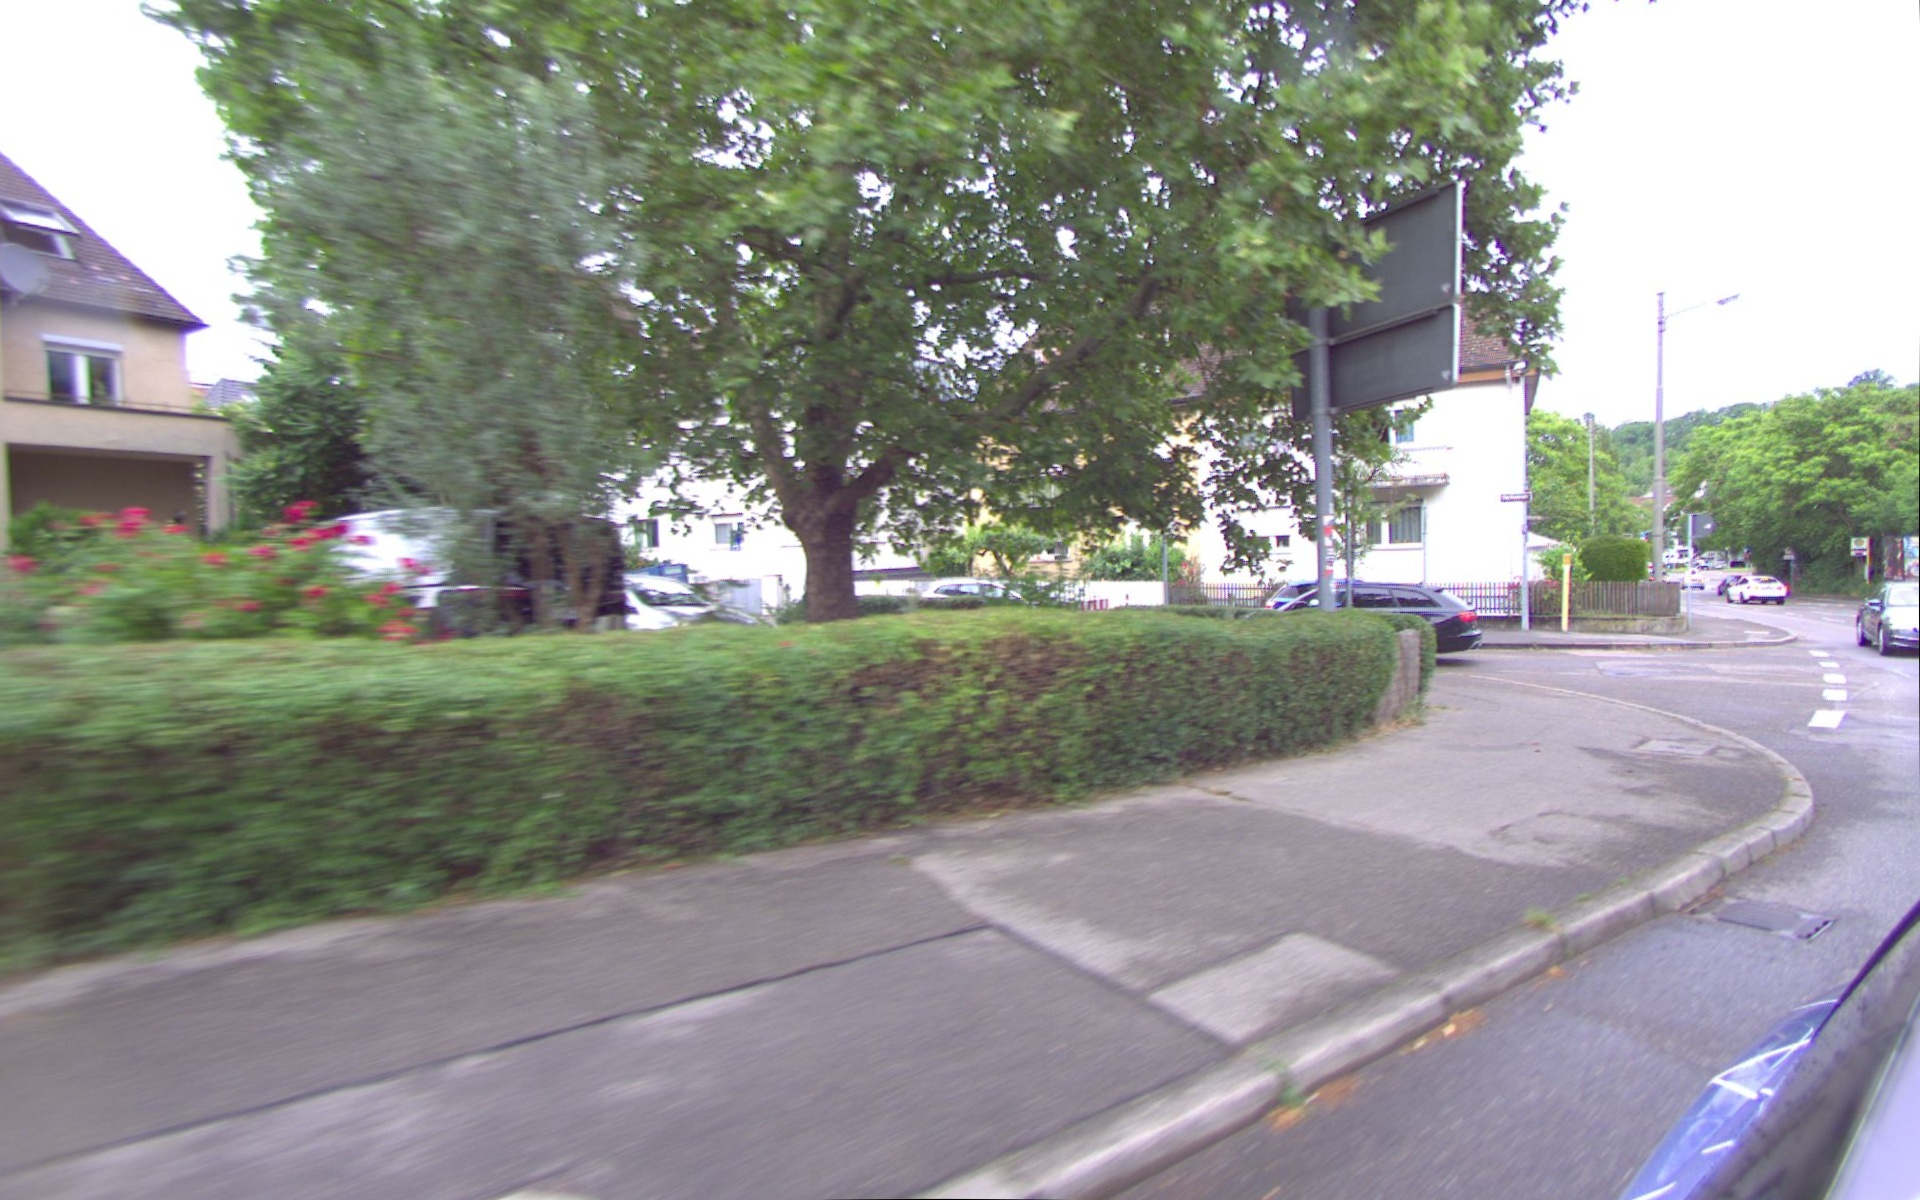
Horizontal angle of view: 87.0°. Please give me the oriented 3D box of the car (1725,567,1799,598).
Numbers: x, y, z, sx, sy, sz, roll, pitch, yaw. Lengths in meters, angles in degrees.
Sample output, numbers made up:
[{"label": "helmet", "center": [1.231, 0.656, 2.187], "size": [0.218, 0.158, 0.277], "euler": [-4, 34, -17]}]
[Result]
[{"label": "car", "center": [43.404, -0.935, 54.905], "size": [1.822, 1.577, 5.527], "euler": [0, 1, 24]}]

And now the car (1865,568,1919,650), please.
[{"label": "car", "center": [19.956, 0.151, 20.702], "size": [1.698, 1.577, 3.950], "euler": [0, 1, 35]}]

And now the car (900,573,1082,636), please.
[{"label": "car", "center": [0.792, 0.078, 26.286], "size": [4.355, 1.532, 1.979], "euler": [0, 1, 30]}]

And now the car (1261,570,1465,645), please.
[{"label": "car", "center": [8.705, 0.103, 21.943], "size": [3.960, 1.482, 1.845], "euler": [1, 1, 26]}]

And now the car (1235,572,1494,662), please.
[{"label": "car", "center": [7.588, 0.256, 19.100], "size": [4.350, 1.532, 1.982], "euler": [0, 1, 27]}]

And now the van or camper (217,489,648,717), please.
[{"label": "van or camper", "center": [-5.501, -0.002, 10.475], "size": [4.290, 1.927, 1.979], "euler": [0, 1, 30]}]

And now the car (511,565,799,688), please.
[{"label": "car", "center": [-4.344, 0.291, 14.191], "size": [3.979, 1.482, 1.973], "euler": [1, 1, 38]}]
